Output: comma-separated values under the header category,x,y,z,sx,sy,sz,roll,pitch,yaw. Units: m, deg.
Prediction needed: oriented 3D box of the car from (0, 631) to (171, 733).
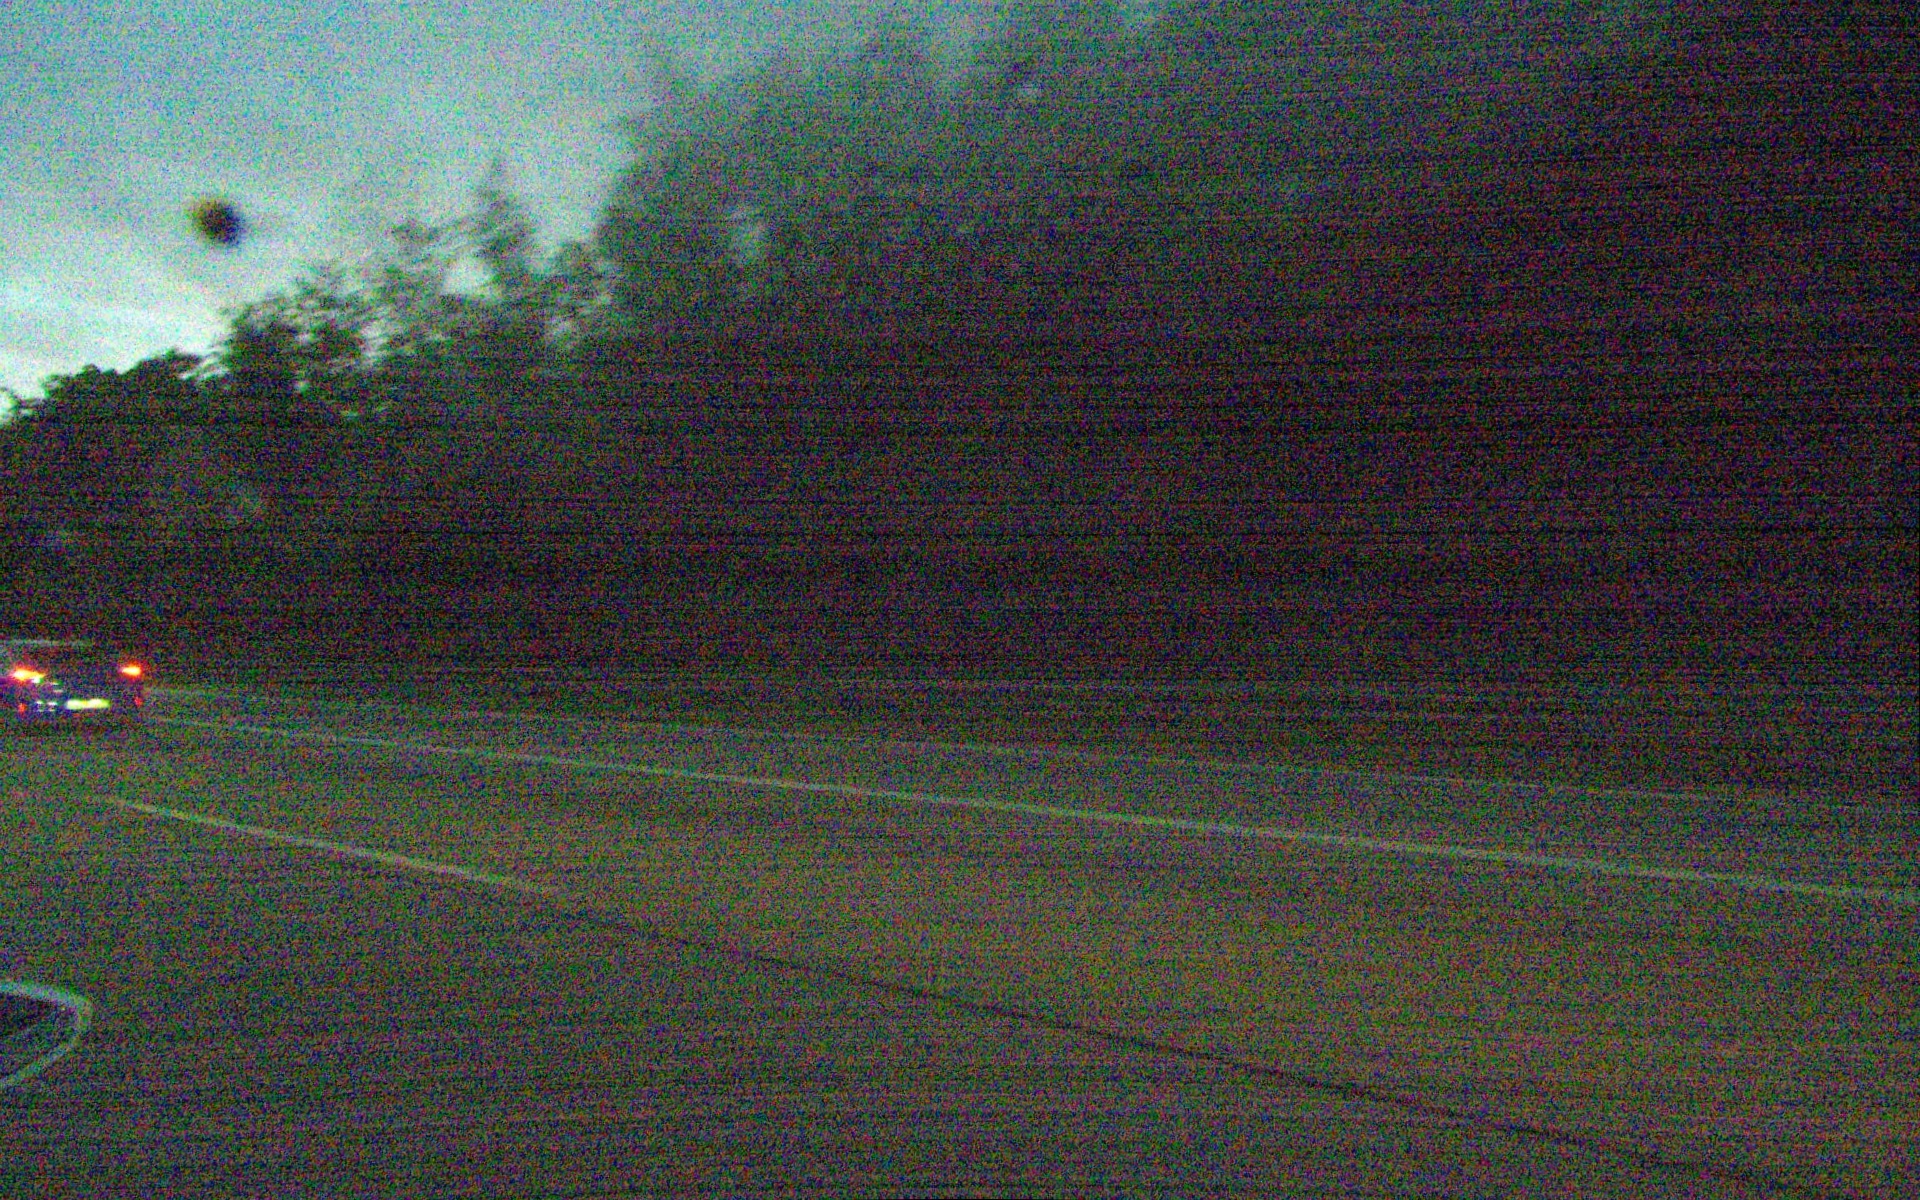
category,x,y,z,sx,sy,sz,roll,pitch,yaw
car,-14.880,1.234,16.226,4.517,1.454,1.863,-1,-2,32
